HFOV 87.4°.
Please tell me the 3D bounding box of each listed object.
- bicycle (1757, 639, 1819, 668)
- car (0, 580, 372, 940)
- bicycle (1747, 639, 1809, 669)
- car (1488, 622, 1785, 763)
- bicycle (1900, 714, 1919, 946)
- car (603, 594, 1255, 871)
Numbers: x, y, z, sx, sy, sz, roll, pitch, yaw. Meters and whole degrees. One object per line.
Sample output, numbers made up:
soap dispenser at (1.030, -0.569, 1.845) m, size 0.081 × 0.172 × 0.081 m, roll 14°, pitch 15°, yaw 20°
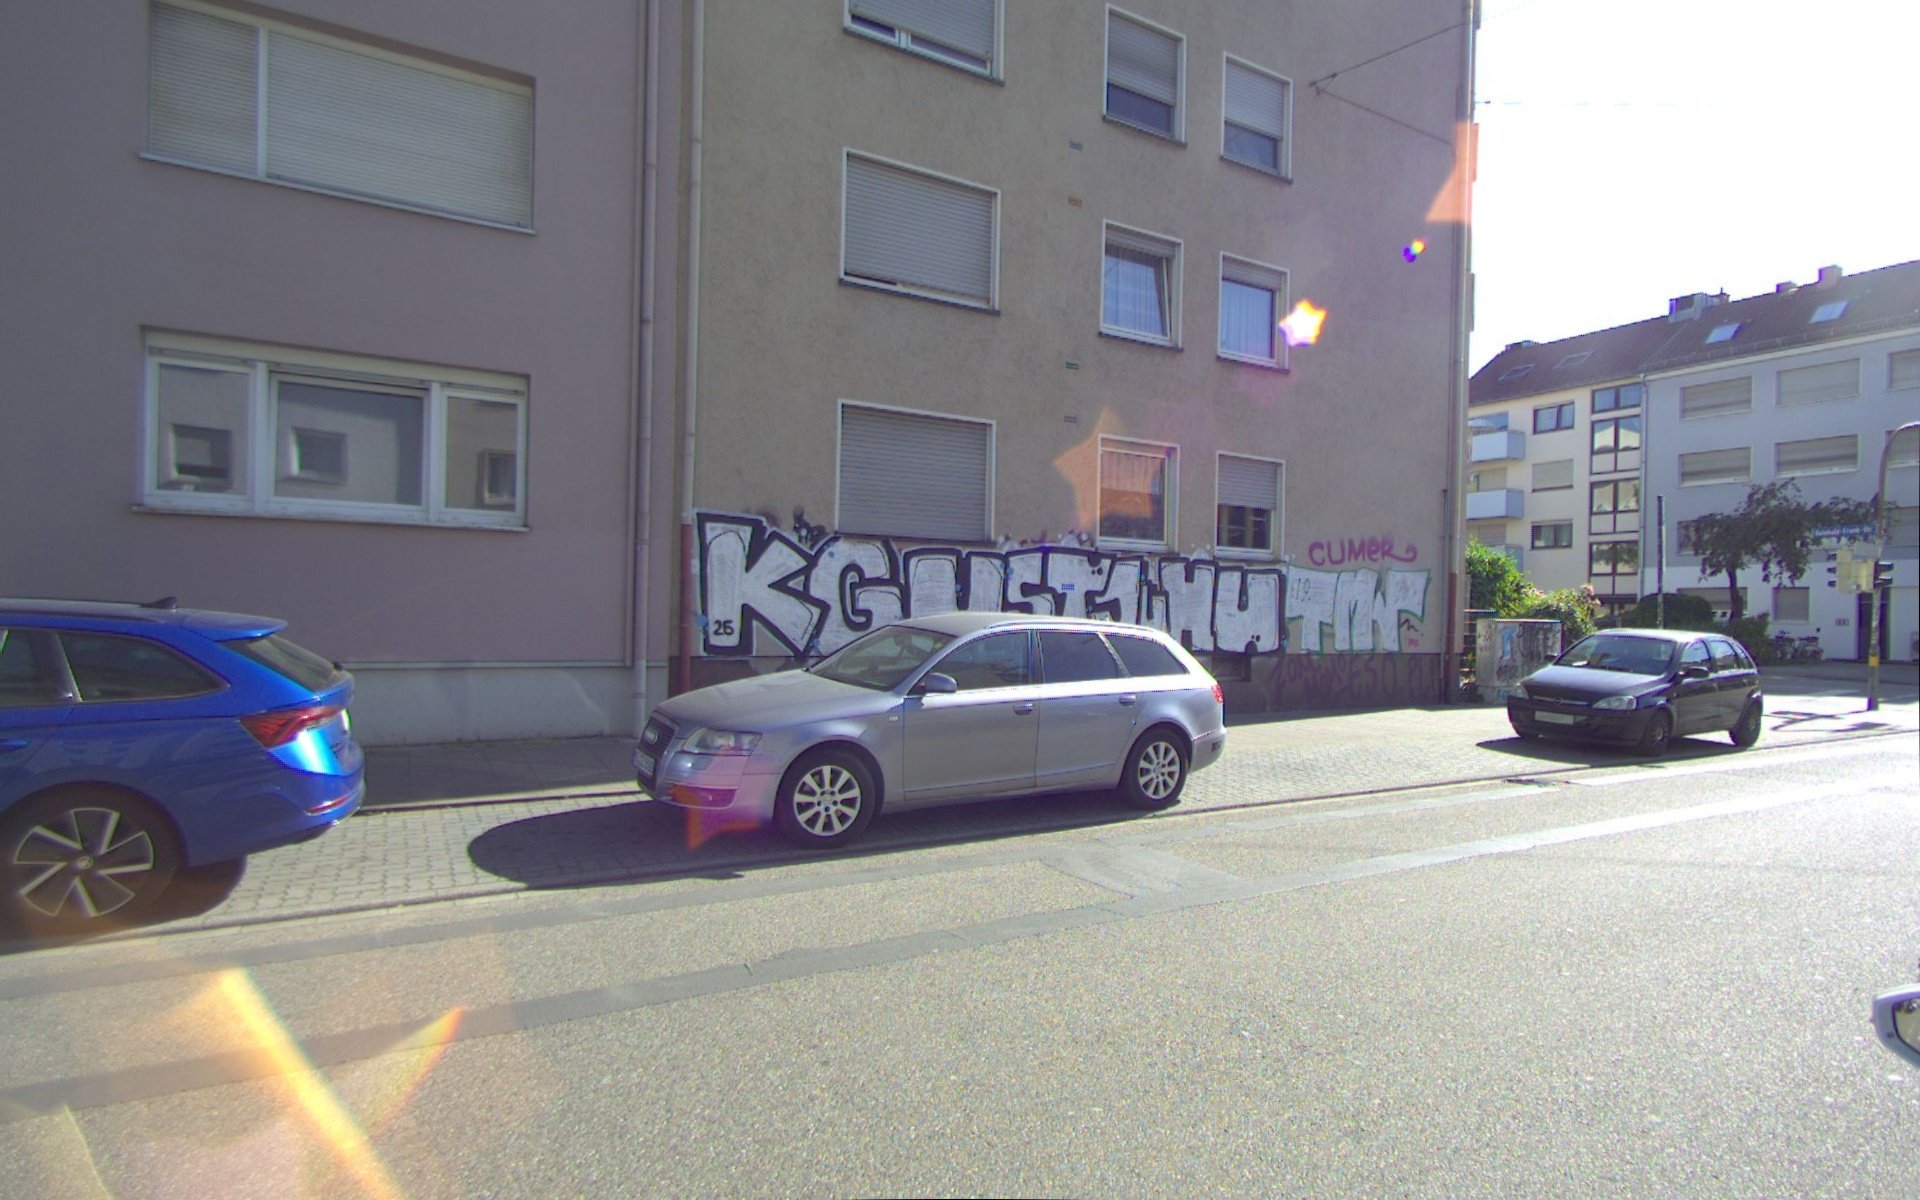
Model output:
bicycle at (28.471, 1.831, 34.556) m, size 0.506 × 0.952 × 1.583 m, roll 1°, pitch -1°, yaw -27°
car at (-5.472, 0.668, 4.620) m, size 4.747 × 1.523 × 1.813 m, roll 1°, pitch 2°, yaw -32°
bicycle at (27.935, 1.825, 34.318) m, size 0.506 × 0.952 × 1.583 m, roll 1°, pitch -1°, yaw -27°
car at (8.702, 1.077, 12.864) m, size 3.813 × 1.468 × 1.682 m, roll 1°, pitch 2°, yaw -32°
bicycle at (5.333, 1.089, 4.893) m, size 1.774 × 1.055 × 0.629 m, roll 1°, pitch -1°, yaw -30°
car at (-0.096, 0.801, 7.759) m, size 4.747 × 1.523 × 1.813 m, roll 1°, pitch 2°, yaw -32°
